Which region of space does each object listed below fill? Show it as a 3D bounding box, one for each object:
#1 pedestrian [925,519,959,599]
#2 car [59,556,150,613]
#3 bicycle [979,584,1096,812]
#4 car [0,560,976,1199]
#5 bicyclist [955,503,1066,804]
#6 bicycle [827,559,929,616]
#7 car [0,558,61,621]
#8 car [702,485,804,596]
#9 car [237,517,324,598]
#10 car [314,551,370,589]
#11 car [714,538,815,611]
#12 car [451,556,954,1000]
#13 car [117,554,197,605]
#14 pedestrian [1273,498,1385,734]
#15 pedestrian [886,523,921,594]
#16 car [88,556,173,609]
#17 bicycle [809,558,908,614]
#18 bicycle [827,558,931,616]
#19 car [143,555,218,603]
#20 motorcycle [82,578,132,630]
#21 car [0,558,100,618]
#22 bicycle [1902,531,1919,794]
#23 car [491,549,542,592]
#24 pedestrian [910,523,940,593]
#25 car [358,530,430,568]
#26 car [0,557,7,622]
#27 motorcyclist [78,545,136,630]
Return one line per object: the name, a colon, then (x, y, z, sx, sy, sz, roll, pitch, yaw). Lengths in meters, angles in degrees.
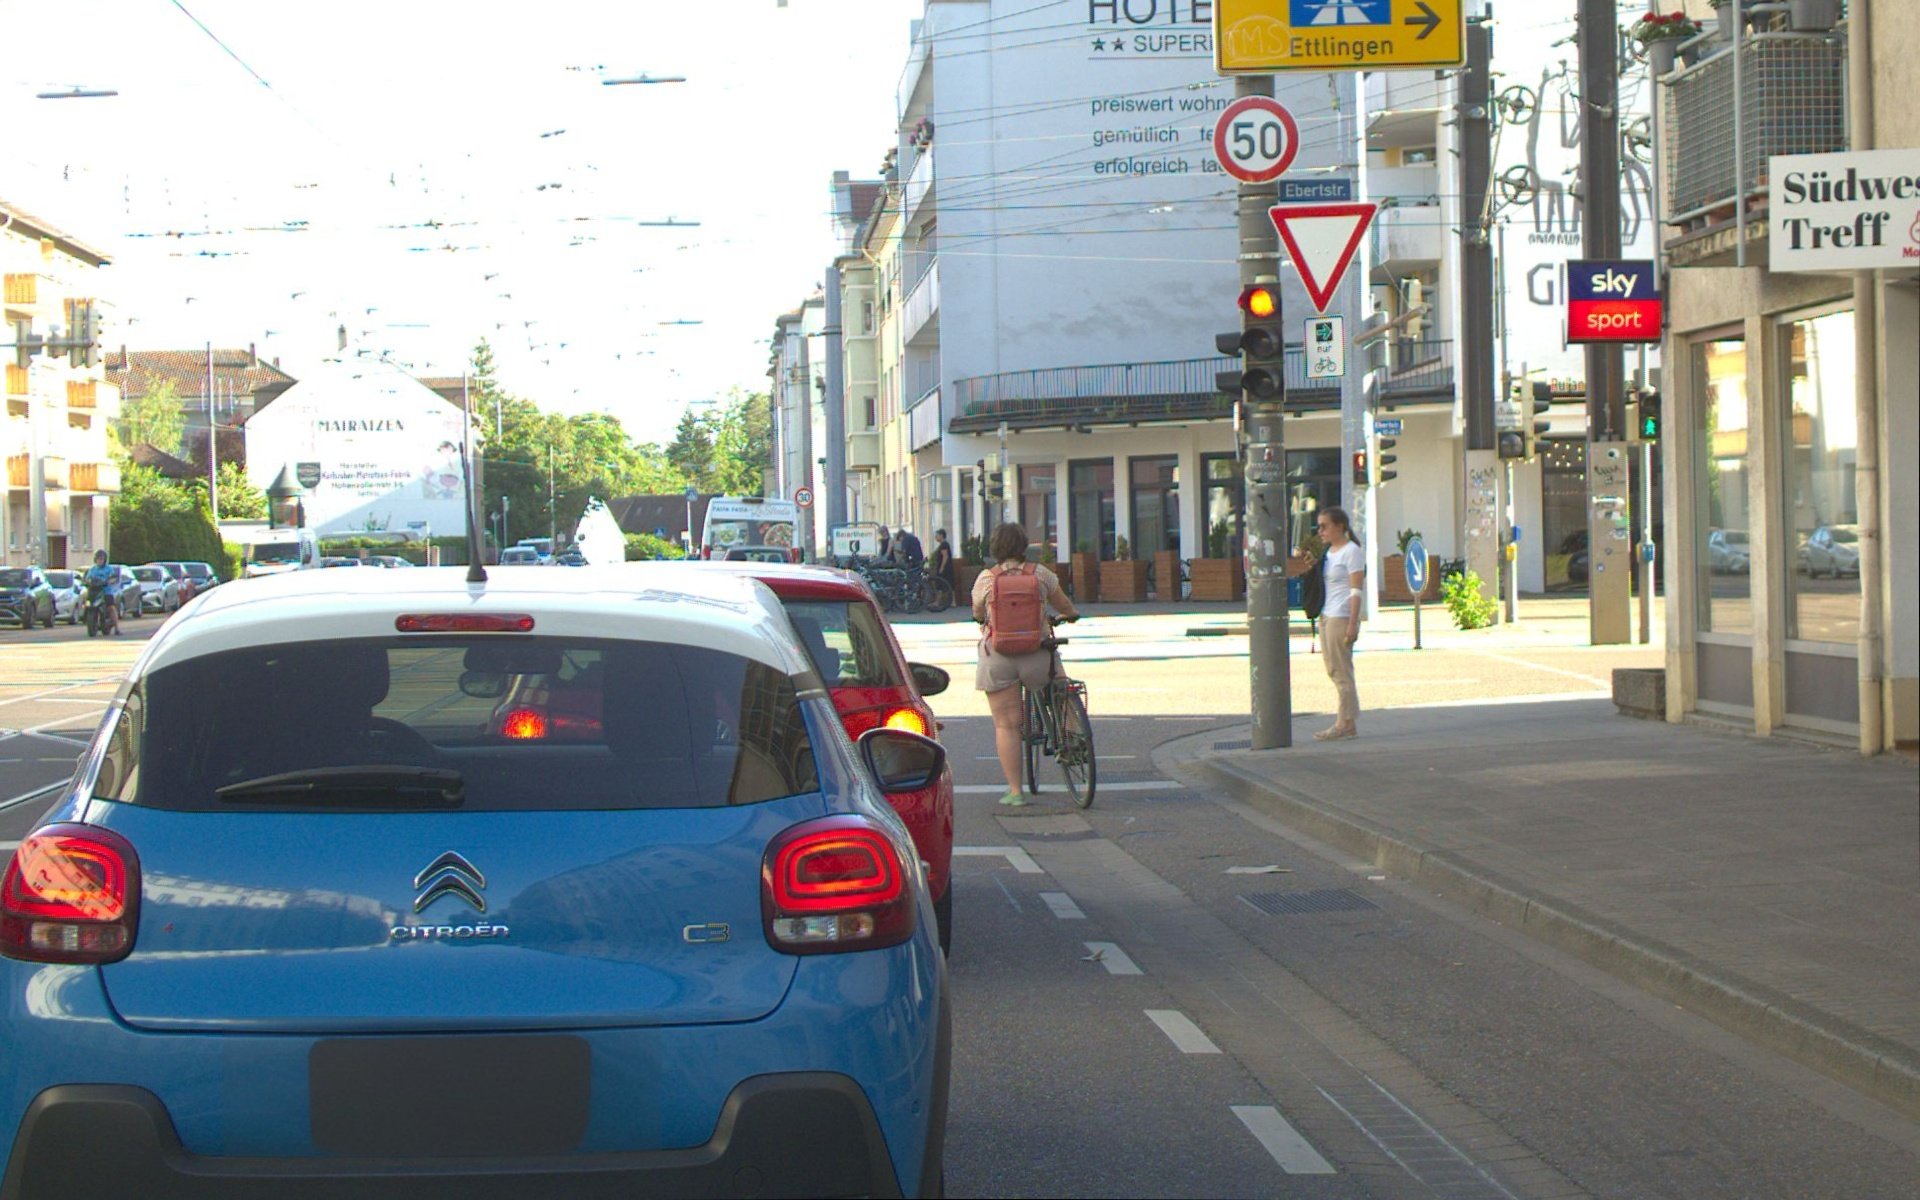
pedestrian: (-0.375, -0.848, 70.934, 0.553, 1.642, 0.538, -2, 1, -16)
car: (-24.453, -0.457, 98.369, 1.950, 1.514, 4.001, -1, 1, -6)
bicycle: (0.451, 0.557, 20.636, 0.613, 1.260, 1.911, -1, 1, -1)
car: (-0.956, 0.667, 7.370, 1.680, 1.457, 4.001, 0, 1, -4)
bicyclist: (0.293, 0.301, 20.594, 0.600, 1.740, 1.084, -1, 1, -1)
bicycle: (-1.602, -0.239, 67.115, 1.904, 1.061, 0.642, -1, 1, -7)
car: (-23.780, -0.267, 85.885, 1.950, 1.514, 4.001, -1, 1, -6)
car: (-4.428, -1.280, 73.235, 2.079, 2.262, 5.652, 0, 1, -4)
car: (-23.655, -1.504, 119.931, 2.493, 2.703, 5.839, -1, 1, -7)
car: (-25.969, -1.280, 144.564, 1.950, 1.514, 4.001, -1, 1, -6)
car: (-3.878, -0.518, 67.800, 1.786, 1.354, 3.915, -1, 1, -6)
car: (-1.003, 0.576, 13.579, 1.680, 1.457, 4.001, 0, 1, -4)
car: (-25.353, -0.672, 108.652, 1.950, 1.514, 4.001, -1, 1, -6)
pedestrian: (2.611, 0.105, 24.369, 0.751, 1.629, 0.740, -1, 1, 6)
pedestrian: (-1.149, -0.849, 70.253, 0.525, 1.415, 0.546, -1, 1, 20)
car: (-24.920, -0.541, 103.373, 1.950, 1.514, 4.001, -1, 1, -6)
bicycle: (-2.021, -0.277, 68.307, 1.904, 1.061, 0.642, -1, 1, -7)
bicycle: (-1.553, -0.245, 65.809, 1.904, 1.061, 0.642, -1, 1, -7)
car: (-26.062, -0.721, 114.994, 1.950, 1.514, 4.001, -1, 1, -6)
motorcycle: (-16.689, 0.073, 67.282, 0.751, 0.973, 2.098, -1, 1, -9)
car: (-24.300, -0.335, 91.942, 1.950, 1.514, 4.001, -1, 1, -6)
bicycle: (4.917, 0.310, 15.747, 0.640, 1.260, 1.911, -1, 1, -1)
car: (-22.037, -1.502, 170.836, 2.338, 2.032, 5.051, -1, 1, -6)
pedestrian: (-0.715, -0.851, 70.001, 0.467, 1.415, 0.527, -2, 1, -13)
car: (-25.256, -2.264, 153.249, 2.004, 1.622, 5.054, -2, 1, -23)
car: (-23.316, -0.193, 79.220, 1.950, 1.514, 4.001, -1, 1, -6)
motorcyclist: (-16.670, -0.252, 67.208, 0.991, 1.625, 0.739, -1, 1, -9)
